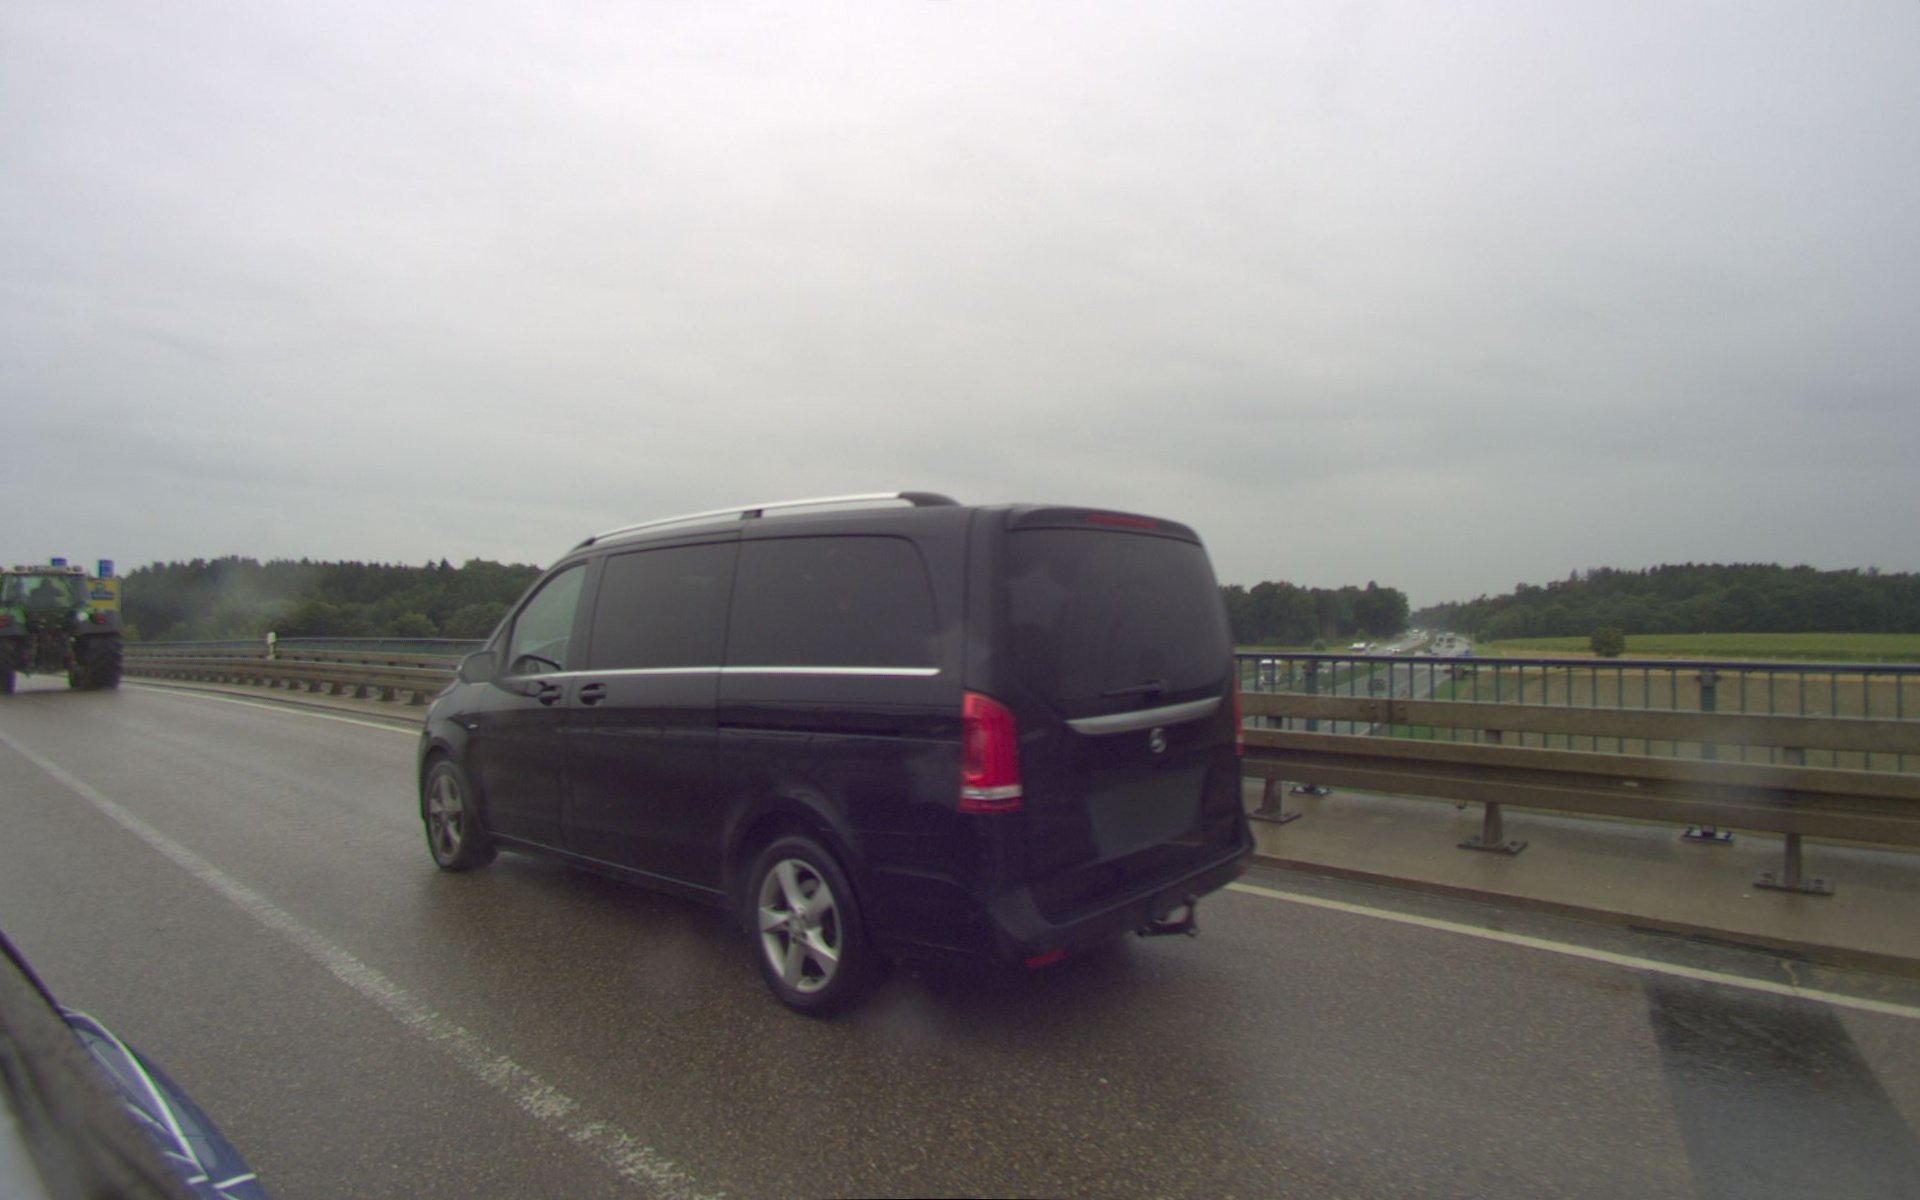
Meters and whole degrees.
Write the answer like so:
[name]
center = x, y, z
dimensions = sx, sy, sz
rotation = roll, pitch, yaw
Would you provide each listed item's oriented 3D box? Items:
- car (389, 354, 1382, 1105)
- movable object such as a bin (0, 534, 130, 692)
[car]
center = -0.830, 0.381, 4.948
dimensions = 4.931, 1.851, 2.043
rotation = -2, -2, 43
[movable object such as a bin]
center = -22.298, 0.340, 24.351
dimensions = 4.638, 3.471, 2.721
rotation = -2, -2, 39
